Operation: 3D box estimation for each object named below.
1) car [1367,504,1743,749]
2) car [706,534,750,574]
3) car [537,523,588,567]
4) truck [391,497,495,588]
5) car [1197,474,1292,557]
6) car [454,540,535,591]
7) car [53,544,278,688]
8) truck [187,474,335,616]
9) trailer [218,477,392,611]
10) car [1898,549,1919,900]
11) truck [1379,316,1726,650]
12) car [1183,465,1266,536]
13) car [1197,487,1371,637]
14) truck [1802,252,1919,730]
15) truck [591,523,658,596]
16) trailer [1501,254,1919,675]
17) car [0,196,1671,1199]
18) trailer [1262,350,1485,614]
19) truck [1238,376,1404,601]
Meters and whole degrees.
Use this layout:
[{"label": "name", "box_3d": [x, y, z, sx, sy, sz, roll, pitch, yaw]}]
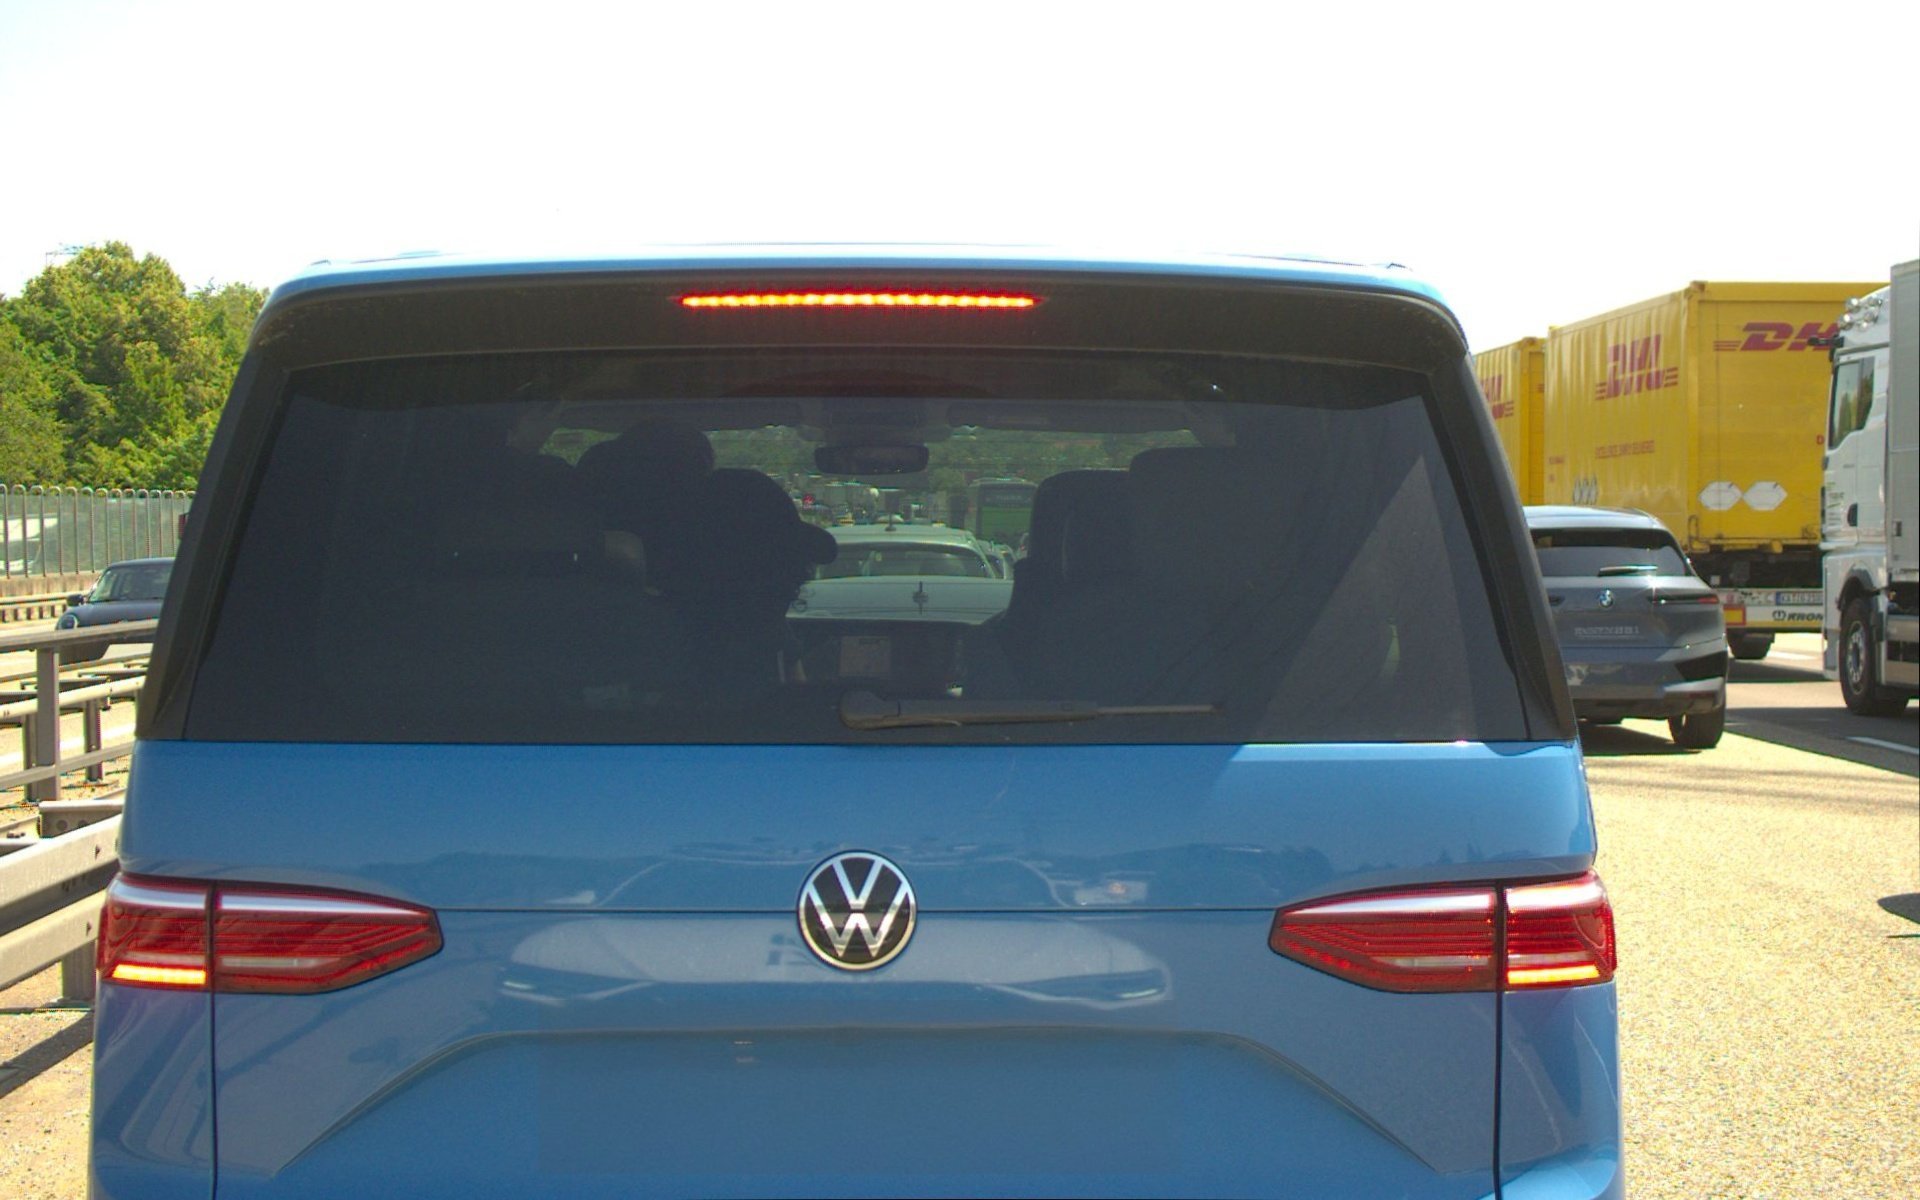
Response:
[{"label": "car", "box_3d": [4.235, 0.136, 25.150, 1.962, 1.639, 4.293, 0, 1, -1]}, {"label": "car", "box_3d": [-11.938, -2.344, 176.994, 1.993, 2.007, 4.312, 1, 1, 0]}, {"label": "car", "box_3d": [-20.395, -2.846, 176.471, 2.082, 2.142, 4.312, -2, 1, 0]}, {"label": "truck", "box_3d": [-18.921, -2.107, 126.219, 2.518, 3.100, 8.724, -4, 1, -1]}, {"label": "car", "box_3d": [7.101, -2.106, 86.208, 1.993, 2.007, 4.000, 1, 1, 0]}, {"label": "car", "box_3d": [-14.084, -1.053, 104.242, 1.863, 1.439, 4.131, -3, 1, 0]}, {"label": "car", "box_3d": [-8.785, 0.141, 38.289, 1.619, 1.459, 3.702, -2, 1, 0]}, {"label": "truck", "box_3d": [-17.644, -1.400, 87.055, 2.497, 3.354, 5.834, -2, 1, -1]}, {"label": "trailer", "box_3d": [-17.761, -1.542, 93.999, 2.481, 3.332, 12.074, -2, 1, -1]}, {"label": "car", "box_3d": [4.887, 0.549, 12.397, 1.788, 1.450, 4.293, 0, 1, -1]}, {"label": "truck", "box_3d": [8.227, -1.583, 49.321, 2.836, 4.228, 11.011, 1, 1, -1]}, {"label": "car", "box_3d": [7.632, -2.859, 99.529, 1.993, 2.007, 4.461, -1, 1, 0]}, {"label": "car", "box_3d": [4.442, -0.549, 47.676, 1.962, 1.986, 4.293, 0, 1, -1]}, {"label": "truck", "box_3d": [8.664, -0.787, 24.047, 2.656, 3.635, 11.011, 0, 1, -1]}, {"label": "truck", "box_3d": [-16.163, -1.955, 165.989, 2.561, 3.348, 8.865, -2, 1, -2]}, {"label": "trailer", "box_3d": [8.412, -1.428, 39.313, 2.864, 4.224, 9.012, 1, 1, -1]}, {"label": "car", "box_3d": [-0.198, 0.483, 5.630, 1.820, 1.851, 4.075, 1, 1, 0]}, {"label": "trailer", "box_3d": [7.620, -2.144, 64.853, 2.637, 4.501, 11.302, 1, 1, -1]}, {"label": "truck", "box_3d": [7.507, -2.272, 72.318, 2.667, 4.469, 6.850, 1, 1, 0]}]
